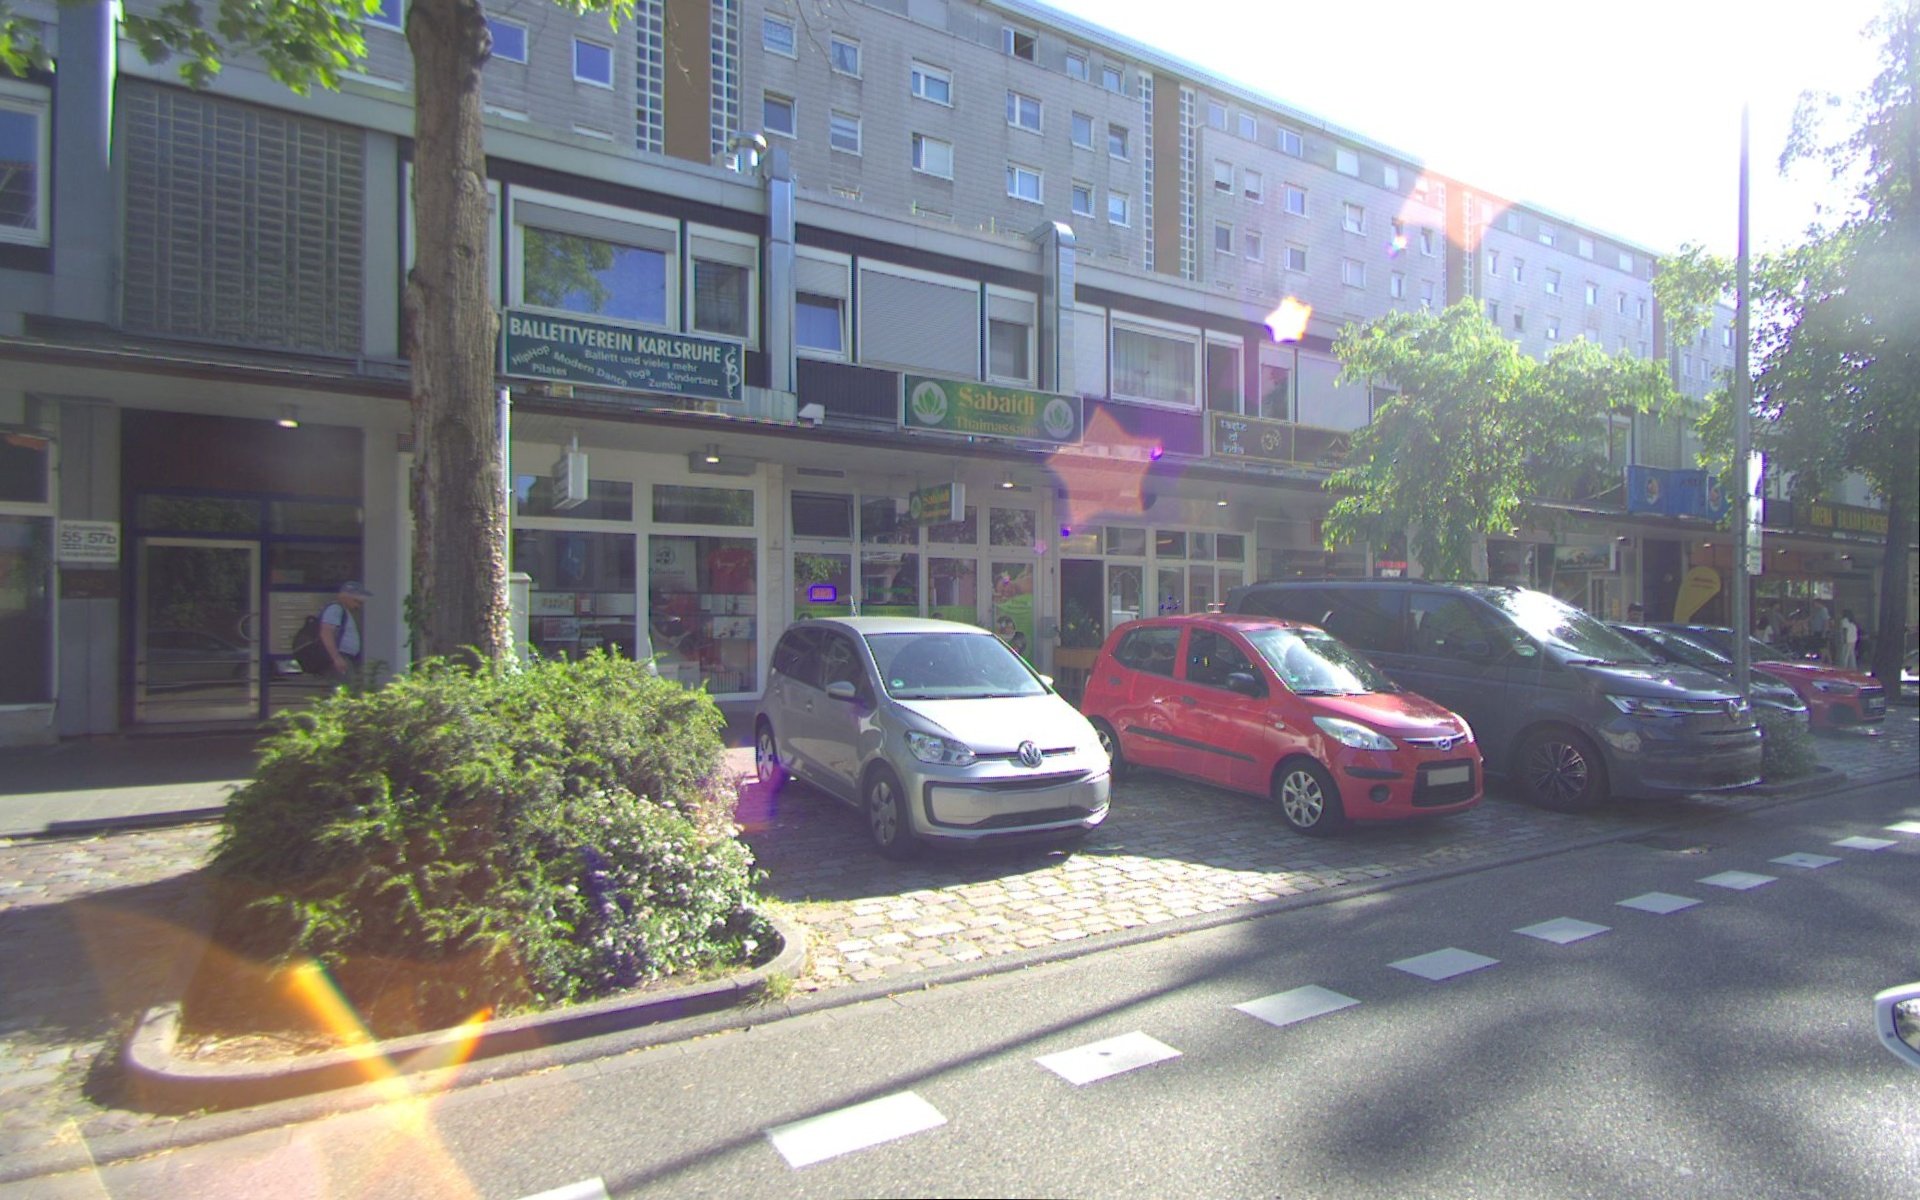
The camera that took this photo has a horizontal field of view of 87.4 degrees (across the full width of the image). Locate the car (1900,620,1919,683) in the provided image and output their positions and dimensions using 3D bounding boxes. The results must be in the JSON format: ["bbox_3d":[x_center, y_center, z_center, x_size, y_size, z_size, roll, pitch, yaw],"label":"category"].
[{"bbox_3d":[23.885,1.173,22.377,1.839,1.476,3.966,1,-1,-31],"label":"car"}]

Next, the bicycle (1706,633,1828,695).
[{"bbox_3d":[16.480,1.276,20.559,0.579,1.121,1.861,1,1,-27],"label":"bicycle"}]

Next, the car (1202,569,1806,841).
[{"bbox_3d":[4.851,0.750,9.894,1.851,1.964,5.005,0,0,-30],"label":"car"}]

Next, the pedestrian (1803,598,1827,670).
[{"bbox_3d":[23.340,0.931,27.417,0.357,1.959,0.389,0,-1,-29],"label":"pedestrian"}]

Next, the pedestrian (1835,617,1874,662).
[{"bbox_3d":[27.234,1.192,30.576,0.696,1.348,0.718,1,0,-34],"label":"pedestrian"}]

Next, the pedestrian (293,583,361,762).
[{"bbox_3d":[-6.170,0.690,9.808,0.527,1.687,0.441,0,-1,-30],"label":"pedestrian"}]

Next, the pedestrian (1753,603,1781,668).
[{"bbox_3d":[22.567,0.994,28.099,0.423,1.806,0.482,0,-1,-33],"label":"pedestrian"}]

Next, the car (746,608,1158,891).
[{"bbox_3d":[-0.293,0.878,7.741,1.653,1.582,3.569,0,0,-30],"label":"car"}]

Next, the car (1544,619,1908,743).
[{"bbox_3d":[10.949,1.045,14.655,1.690,1.470,3.898,0,0,-31],"label":"car"}]

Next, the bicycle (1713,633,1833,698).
[{"bbox_3d":[15.886,1.250,19.679,0.615,1.132,1.712,1,1,-27],"label":"bicycle"}]

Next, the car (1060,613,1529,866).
[{"bbox_3d":[2.551,0.923,8.437,1.642,1.575,3.539,0,0,-31],"label":"car"}]

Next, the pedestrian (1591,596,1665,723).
[{"bbox_3d":[9.347,0.819,14.080,0.622,1.735,0.581,0,-1,-3],"label":"pedestrian"}]

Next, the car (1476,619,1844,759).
[{"bbox_3d":[8.967,1.028,13.153,1.596,1.470,3.644,0,0,-33],"label":"car"}]

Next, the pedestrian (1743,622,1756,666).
[{"bbox_3d":[22.939,1.284,29.197,0.212,1.261,0.211,1,0,-29],"label":"pedestrian"}]

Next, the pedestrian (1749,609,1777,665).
[{"bbox_3d":[21.849,0.998,27.341,0.416,1.492,0.465,0,-1,-33],"label":"pedestrian"}]

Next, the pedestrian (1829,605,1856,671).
[{"bbox_3d":[23.492,1.014,26.730,0.496,1.728,0.389,1,0,-30],"label":"pedestrian"}]
